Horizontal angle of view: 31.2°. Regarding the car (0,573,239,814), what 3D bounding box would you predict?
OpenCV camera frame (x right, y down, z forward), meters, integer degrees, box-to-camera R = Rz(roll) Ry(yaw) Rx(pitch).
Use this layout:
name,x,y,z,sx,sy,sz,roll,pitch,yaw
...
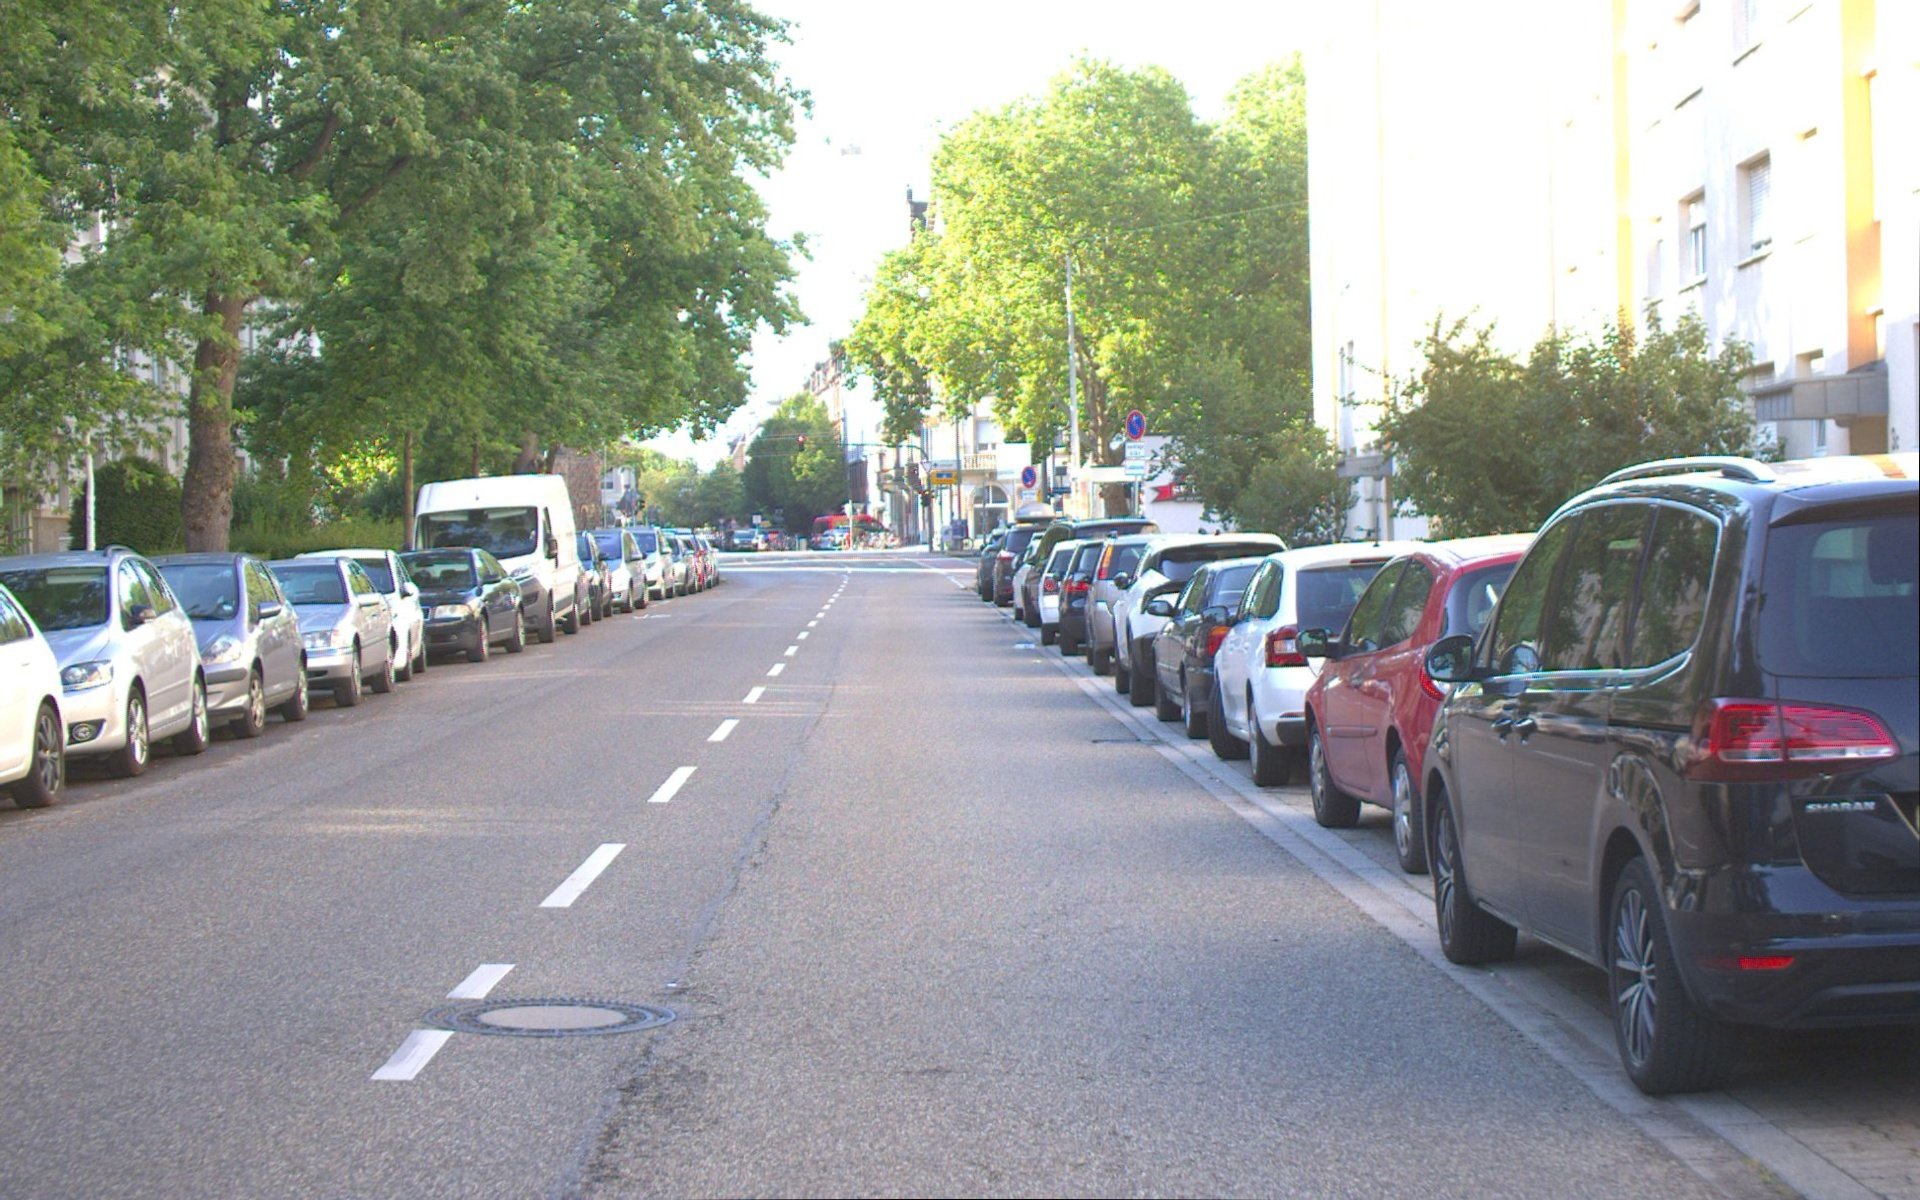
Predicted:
name,x,y,z,sx,sy,sz,roll,pitch,yaw
car,-6.410,0.599,24.480,1.873,1.546,4.001,0,1,-3

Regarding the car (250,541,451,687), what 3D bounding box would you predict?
name,x,y,z,sx,sy,sz,roll,pitch,yaw
car,-6.803,0.129,38.649,1.707,1.568,3.261,0,1,-1

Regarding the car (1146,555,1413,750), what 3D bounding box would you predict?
name,x,y,z,sx,sy,sz,roll,pitch,yaw
car,2.480,0.362,27.580,1.661,1.433,4.313,0,1,-1

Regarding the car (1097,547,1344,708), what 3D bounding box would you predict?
name,x,y,z,sx,sy,sz,roll,pitch,yaw
car,2.411,0.218,32.755,1.873,1.437,4.001,0,1,-3

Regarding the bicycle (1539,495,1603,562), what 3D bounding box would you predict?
name,x,y,z,sx,sy,sz,roll,pitch,yaw
bicycle,10.632,-1.259,59.896,0.600,1.078,2.394,-3,3,-1

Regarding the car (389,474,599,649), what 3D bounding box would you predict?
name,x,y,z,sx,sy,sz,roll,pitch,yaw
car,-6.814,-0.578,50.974,2.358,2.437,6.165,0,1,-1

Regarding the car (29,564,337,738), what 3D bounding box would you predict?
name,x,y,z,sx,sy,sz,roll,pitch,yaw
car,-6.485,0.378,29.095,1.873,1.351,4.001,0,1,-3

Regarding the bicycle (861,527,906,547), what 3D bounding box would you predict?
name,x,y,z,sx,sy,sz,roll,pitch,yaw
bicycle,-4.819,-3.955,216.207,2.802,1.199,0.510,0,1,-7

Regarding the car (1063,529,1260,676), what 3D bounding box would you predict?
name,x,y,z,sx,sy,sz,roll,pitch,yaw
car,2.274,-0.001,39.800,1.962,1.600,4.279,0,1,-1

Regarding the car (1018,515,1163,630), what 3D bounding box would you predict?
name,x,y,z,sx,sy,sz,roll,pitch,yaw
car,2.022,-0.453,54.668,2.024,1.744,4.767,0,1,-1

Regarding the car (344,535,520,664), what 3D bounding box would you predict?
name,x,y,z,sx,sy,sz,roll,pitch,yaw
car,-6.688,-0.035,43.877,1.707,1.568,3.819,0,1,-1

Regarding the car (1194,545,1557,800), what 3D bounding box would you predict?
name,x,y,z,sx,sy,sz,roll,pitch,yaw
car,2.596,0.401,22.330,1.771,1.449,4.000,-2,1,-1

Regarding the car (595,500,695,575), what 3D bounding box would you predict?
name,x,y,z,sx,sy,sz,roll,pitch,yaw
car,-7.174,-1.416,78.722,1.916,1.672,4.974,0,1,-1

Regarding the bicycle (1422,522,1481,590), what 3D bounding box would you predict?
name,x,y,z,sx,sy,sz,roll,pitch,yaw
bicycle,8.534,-0.776,59.769,0.600,1.078,2.394,-3,3,-1

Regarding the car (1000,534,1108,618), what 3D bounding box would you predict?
name,x,y,z,sx,sy,sz,roll,pitch,yaw
car,1.617,-0.441,60.380,1.679,1.410,4.724,0,1,-1

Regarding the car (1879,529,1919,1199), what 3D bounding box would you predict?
name,x,y,z,sx,sy,sz,roll,pitch,yaw
car,2.866,0.592,5.184,1.771,1.503,4.000,-3,1,-1

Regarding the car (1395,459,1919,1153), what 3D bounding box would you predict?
name,x,y,z,sx,sy,sz,roll,pitch,yaw
car,2.602,0.450,10.717,1.771,1.672,4.647,-2,1,-1

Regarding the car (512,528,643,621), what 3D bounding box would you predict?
name,x,y,z,sx,sy,sz,roll,pitch,yaw
car,-6.626,-0.458,59.965,1.870,1.553,4.366,0,1,-1

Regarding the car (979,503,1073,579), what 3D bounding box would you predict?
name,x,y,z,sx,sy,sz,roll,pitch,yaw
car,1.466,-1.334,77.997,1.927,1.653,4.678,0,1,-1

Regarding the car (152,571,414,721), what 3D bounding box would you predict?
name,x,y,z,sx,sy,sz,roll,pitch,yaw
car,-6.582,0.402,33.886,1.873,1.351,4.654,0,1,-3

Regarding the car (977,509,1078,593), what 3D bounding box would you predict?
name,x,y,z,sx,sy,sz,roll,pitch,yaw
car,1.389,-1.060,72.368,1.897,1.645,4.343,2,2,-1

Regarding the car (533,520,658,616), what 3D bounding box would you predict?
name,x,y,z,sx,sy,sz,roll,pitch,yaw
car,-7.097,-0.664,67.403,1.871,1.553,5.057,-6,2,-1

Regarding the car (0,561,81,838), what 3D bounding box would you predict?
name,x,y,z,sx,sy,sz,roll,pitch,yaw
car,-6.381,0.569,18.887,2.004,1.546,4.472,0,1,-1

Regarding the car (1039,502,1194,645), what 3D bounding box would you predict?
name,x,y,z,sx,sy,sz,roll,pitch,yaw
car,1.989,-0.359,44.723,1.837,1.766,3.978,0,1,0

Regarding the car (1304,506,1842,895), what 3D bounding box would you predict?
name,x,y,z,sx,sy,sz,roll,pitch,yaw
car,2.748,0.389,16.284,1.771,1.611,4.000,0,1,-1

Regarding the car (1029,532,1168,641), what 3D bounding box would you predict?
name,x,y,z,sx,sy,sz,roll,pitch,yaw
car,1.942,-0.210,49.360,1.837,1.496,4.172,0,1,0
